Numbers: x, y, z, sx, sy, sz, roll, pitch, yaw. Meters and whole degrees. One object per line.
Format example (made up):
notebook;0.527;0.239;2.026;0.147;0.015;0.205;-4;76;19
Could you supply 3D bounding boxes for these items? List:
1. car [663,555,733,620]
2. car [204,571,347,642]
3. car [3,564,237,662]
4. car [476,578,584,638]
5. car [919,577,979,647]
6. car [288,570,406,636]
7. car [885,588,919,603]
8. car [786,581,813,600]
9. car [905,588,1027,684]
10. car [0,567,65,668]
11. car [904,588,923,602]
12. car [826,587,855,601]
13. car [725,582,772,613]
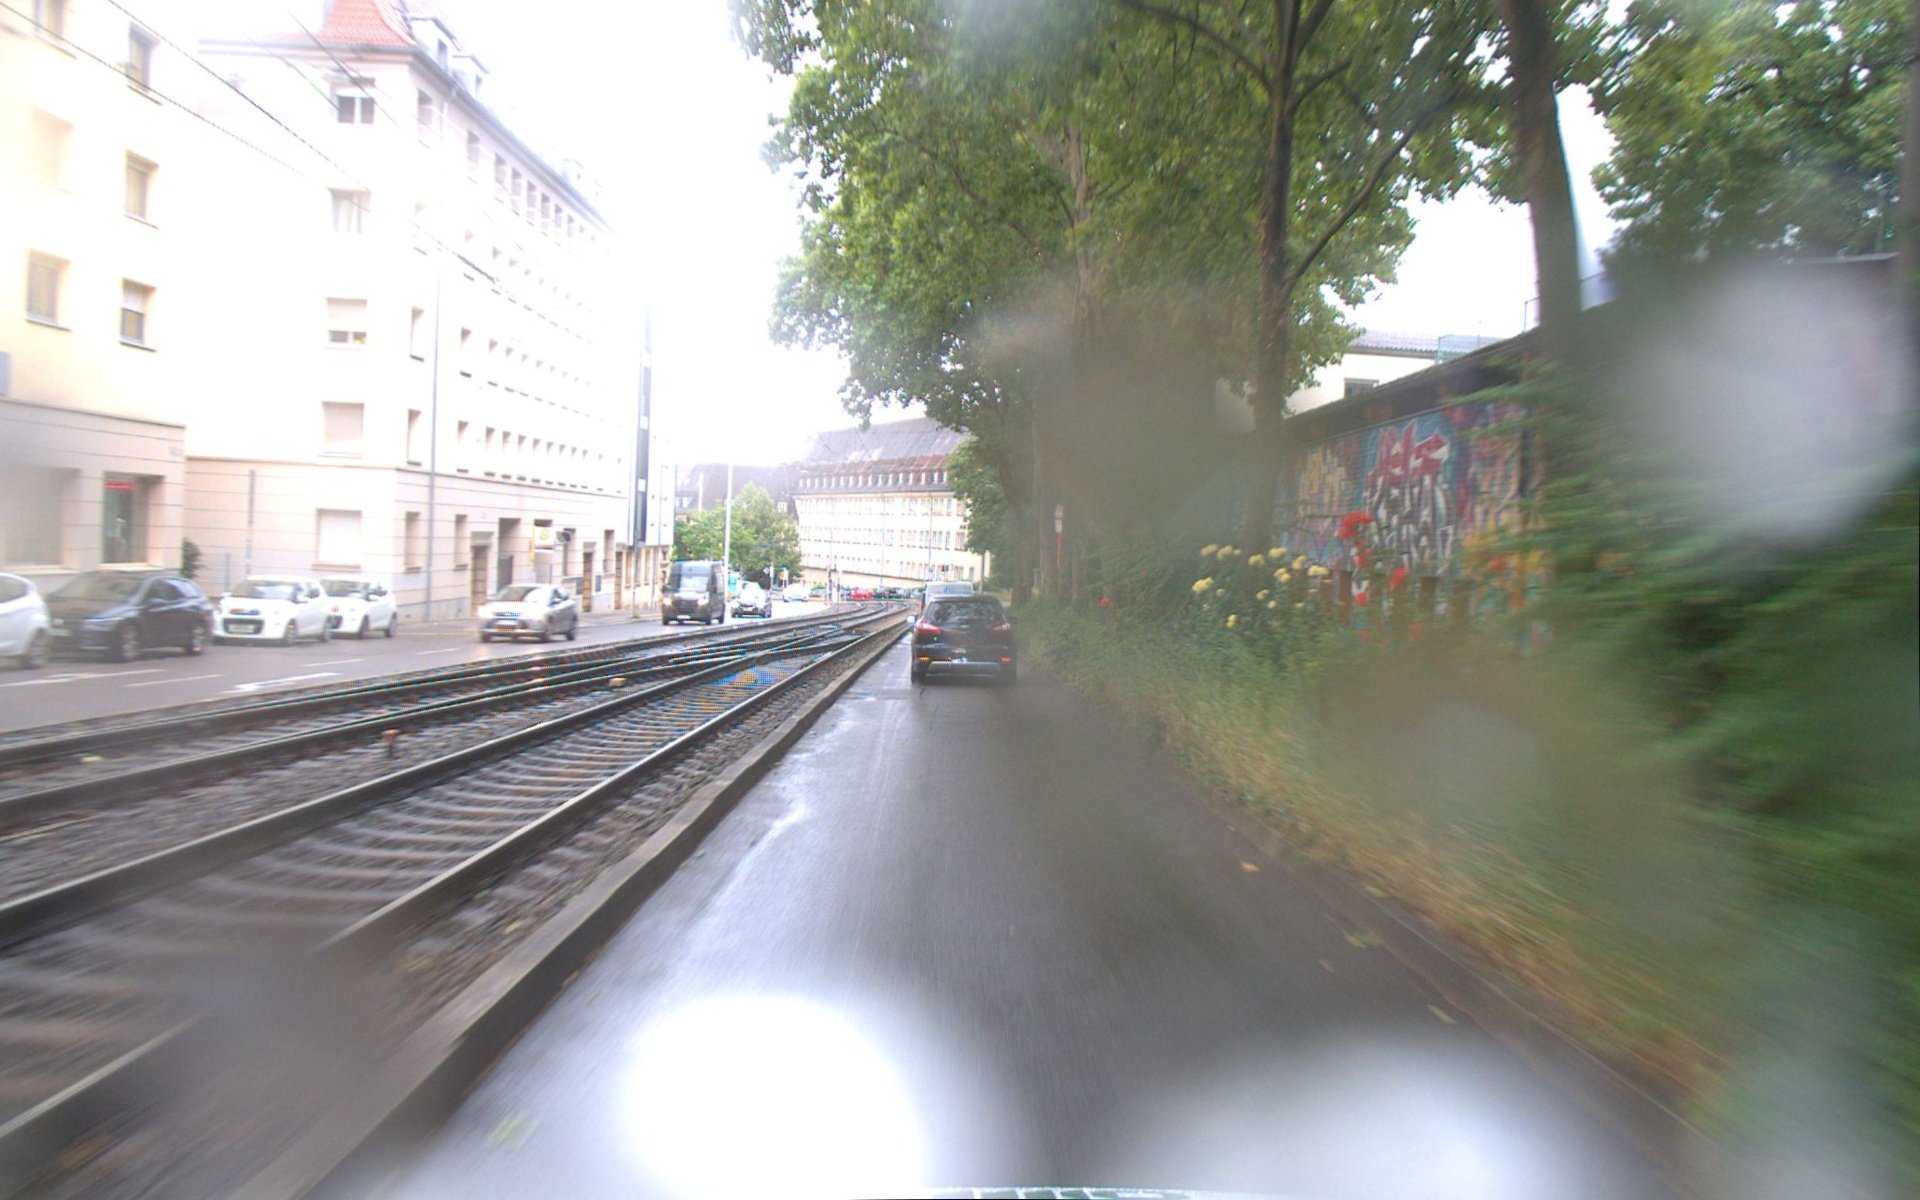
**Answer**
car;-10.895;-0.468;69.227;1.953;2.495;5.997;1;-1;0
car;-15.061;0.163;36.624;1.670;1.421;3.933;2;-1;-3
car;-14.676;0.229;29.214;1.776;1.525;4.581;2;0;-1
car;-11.126;0.218;43.060;1.677;1.488;4.280;1;-1;0
car;-0.378;0.384;51.290;1.706;2.049;3.901;1;-1;-3
car;-15.186;0.098;41.119;1.674;1.475;3.539;3;-1;-3
car;-6.403;-0.465;182.296;1.976;1.569;3.951;2;-1;-34
car;-13.594;-0.795;140.550;1.762;1.508;4.840;1;-1;1
car;0.029;0.615;29.001;1.894;1.478;4.315;2;-1;-2
car;-14.762;0.289;23.807;1.657;1.464;4.047;-2;1;-2
car;-5.048;-0.538;178.601;1.626;1.502;3.636;1;-1;-9
car;-14.192;-0.719;196.201;1.970;1.569;3.964;0;0;-27
car;-11.154;-0.143;87.406;1.841;1.512;4.854;2;1;0
